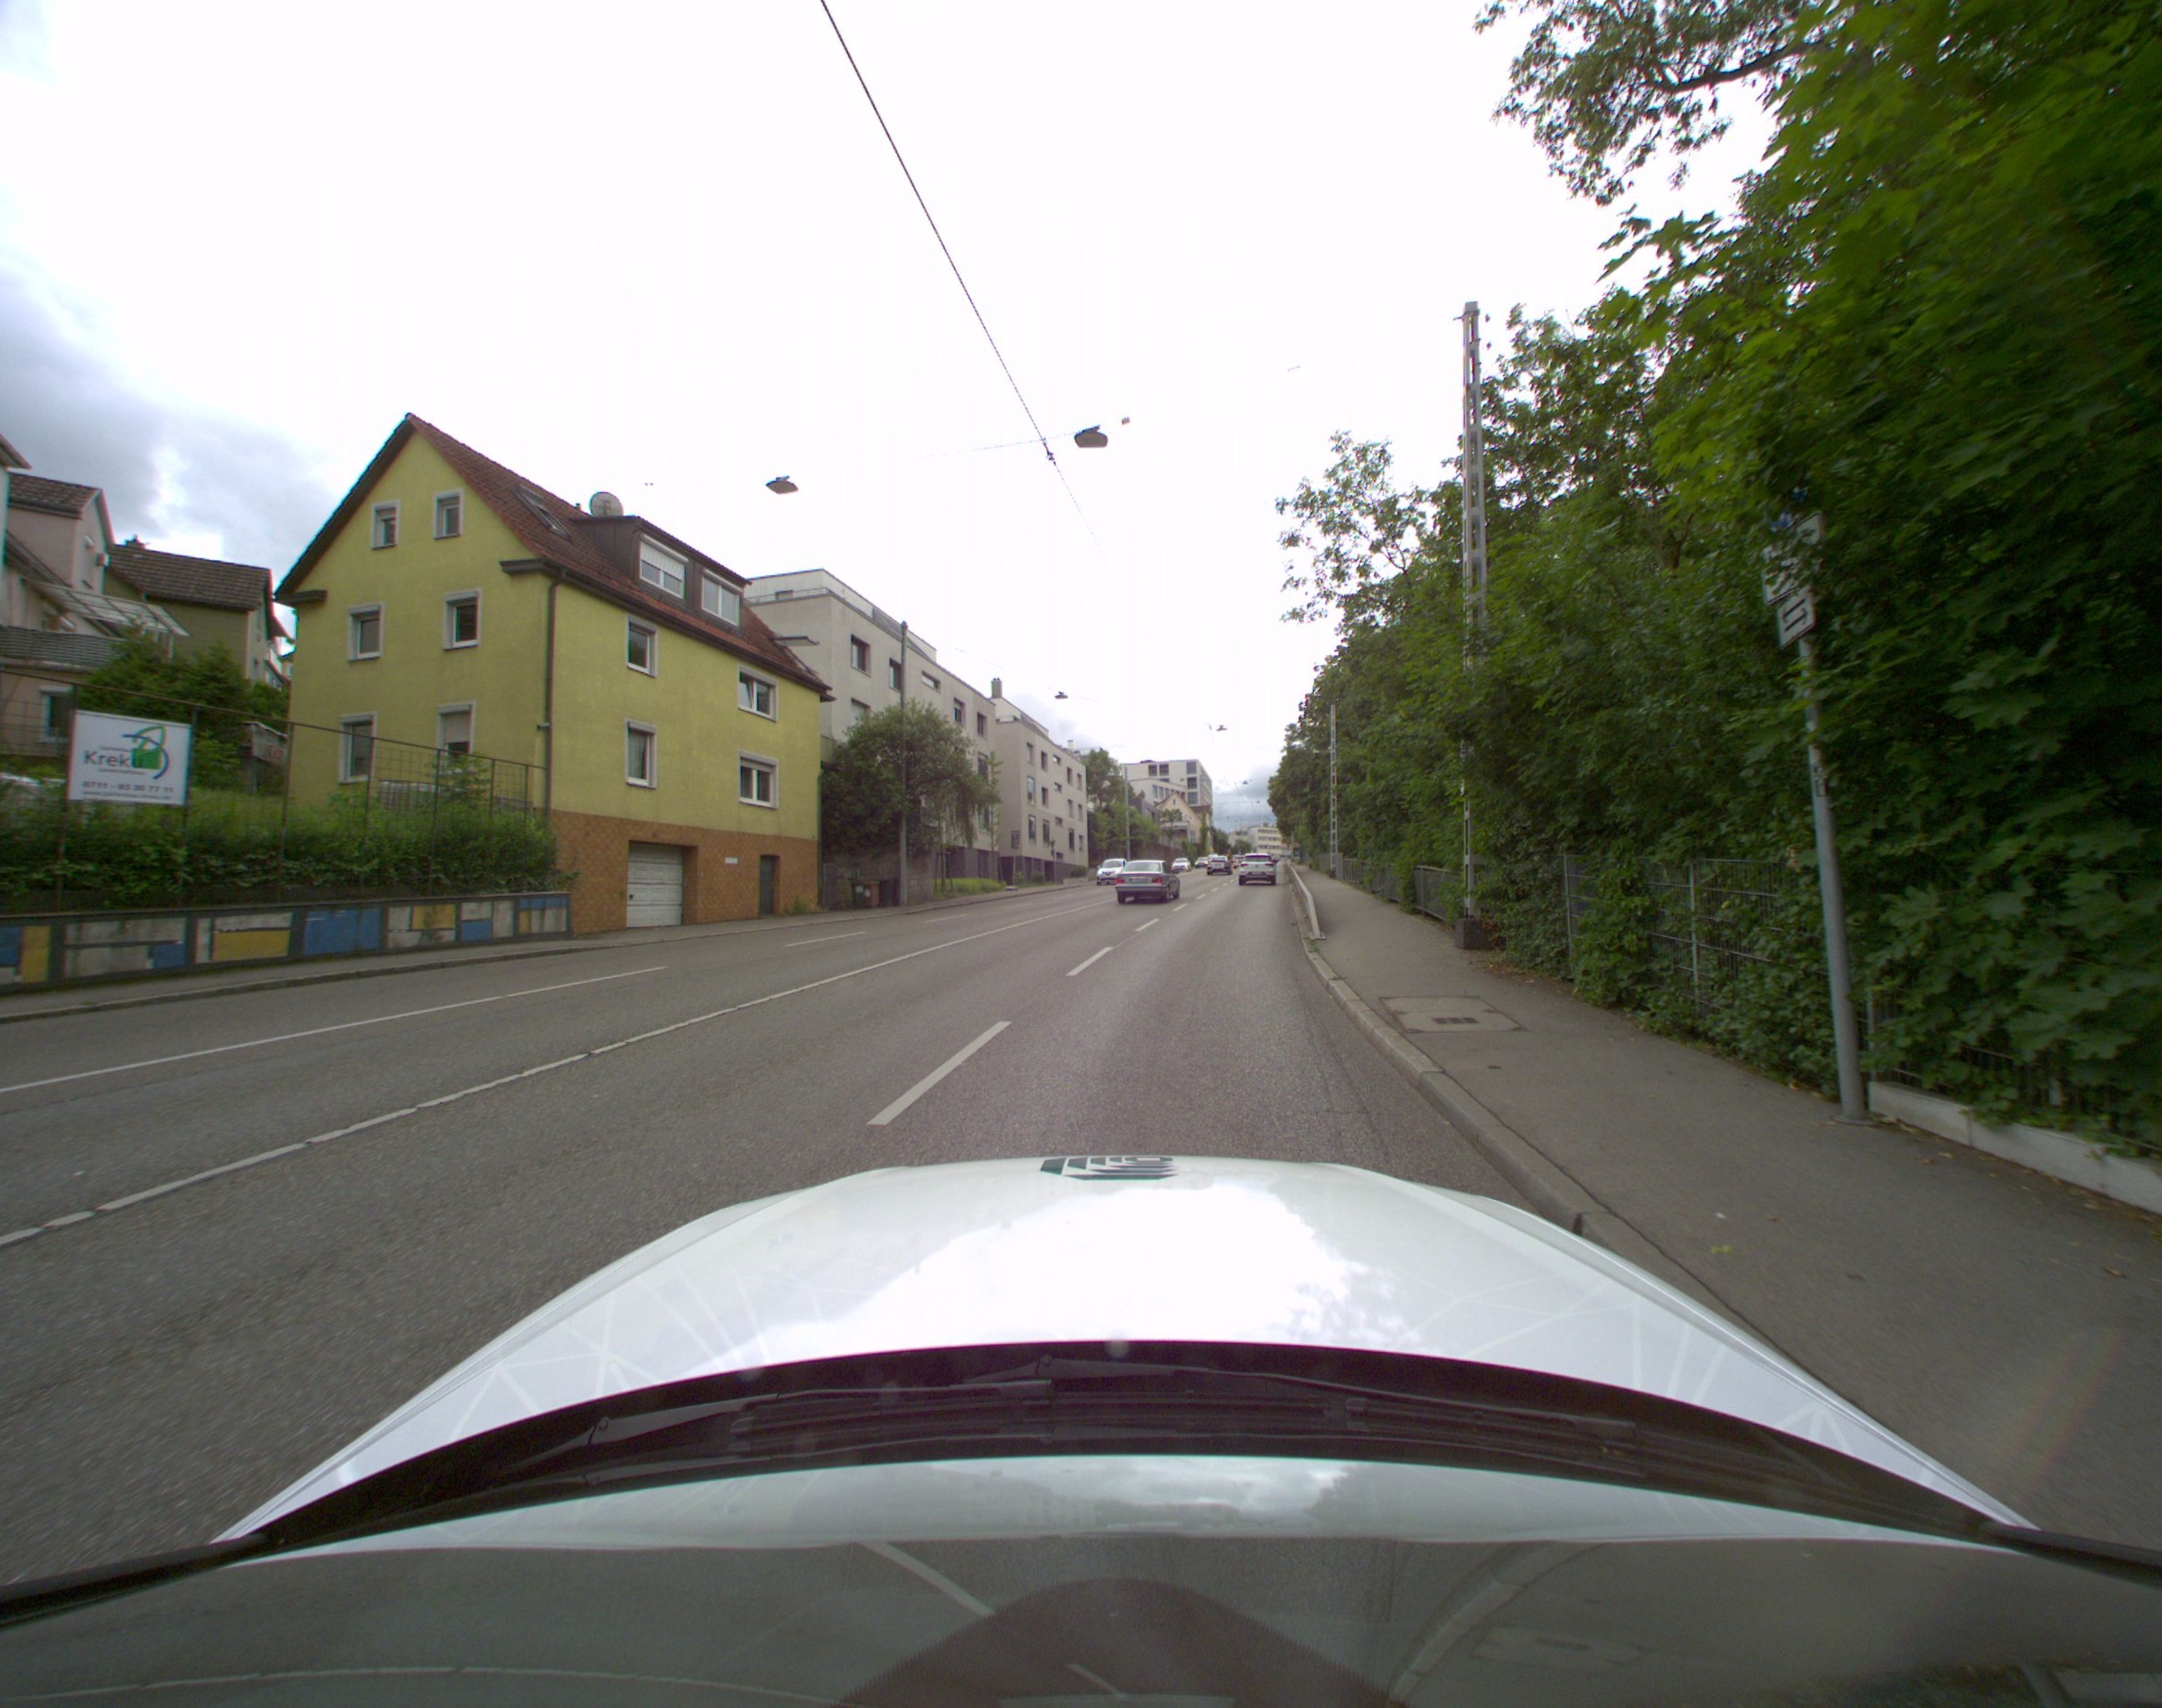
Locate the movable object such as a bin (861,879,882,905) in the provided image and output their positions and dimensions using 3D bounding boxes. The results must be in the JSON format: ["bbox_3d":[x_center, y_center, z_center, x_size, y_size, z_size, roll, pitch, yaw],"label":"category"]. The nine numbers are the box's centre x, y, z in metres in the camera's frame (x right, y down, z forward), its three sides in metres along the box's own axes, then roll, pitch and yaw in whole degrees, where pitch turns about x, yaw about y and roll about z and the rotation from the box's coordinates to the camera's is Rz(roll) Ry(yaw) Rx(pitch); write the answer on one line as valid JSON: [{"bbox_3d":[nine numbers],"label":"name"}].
[{"bbox_3d":[-7.316,1.330,28.476,0.566,0.885,0.609,1,-1,-3],"label":"movable object such as a bin"}]

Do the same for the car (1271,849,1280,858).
[{"bbox_3d":[46.744,-0.130,195.553,1.979,2.014,4.015,1,-1,14],"label":"car"}]

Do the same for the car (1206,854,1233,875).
[{"bbox_3d":[10.648,0.786,62.574,1.694,1.464,4.015,-2,-1,14],"label":"car"}]

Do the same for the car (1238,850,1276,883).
[{"bbox_3d":[8.853,0.609,40.763,1.767,1.579,4.014,1,0,13],"label":"car"}]

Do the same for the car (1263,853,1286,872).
[{"bbox_3d":[15.450,0.674,64.975,1.694,1.464,4.015,1,-1,14],"label":"car"}]

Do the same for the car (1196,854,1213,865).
[{"bbox_3d":[16.767,0.751,110.630,1.720,1.464,4.440,-3,-1,14],"label":"car"}]

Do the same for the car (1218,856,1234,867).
[{"bbox_3d":[18.821,0.956,105.492,1.741,1.269,4.207,-3,-1,14],"label":"car"}]

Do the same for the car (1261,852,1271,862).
[{"bbox_3d":[39.762,0.630,174.695,1.979,2.014,4.015,1,-1,14],"label":"car"}]

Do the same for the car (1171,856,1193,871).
[{"bbox_3d":[10.800,0.995,86.814,1.760,1.464,4.207,-3,-1,14],"label":"car"}]

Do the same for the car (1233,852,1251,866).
[{"bbox_3d":[17.793,0.509,90.010,1.694,1.464,4.015,-2,-1,14],"label":"car"}]

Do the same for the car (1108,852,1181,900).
[{"bbox_3d":[2.188,0.722,27.060,1.694,1.464,4.016,-1,-1,15],"label":"car"}]

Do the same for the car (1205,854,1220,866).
[{"bbox_3d":[20.454,0.932,126.356,1.720,1.788,4.885,-3,-1,14],"label":"car"}]

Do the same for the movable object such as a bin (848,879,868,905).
[{"bbox_3d":[-7.969,1.357,29.091,0.566,0.885,0.609,1,-1,-3],"label":"movable object such as a bin"}]

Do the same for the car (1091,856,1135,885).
[{"bbox_3d":[2.042,1.007,50.885,1.731,1.614,4.073,-4,-1,15],"label":"car"}]

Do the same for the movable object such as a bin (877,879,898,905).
[{"bbox_3d":[-6.810,1.341,28.677,0.566,0.885,0.609,1,-1,-3],"label":"movable object such as a bin"}]
